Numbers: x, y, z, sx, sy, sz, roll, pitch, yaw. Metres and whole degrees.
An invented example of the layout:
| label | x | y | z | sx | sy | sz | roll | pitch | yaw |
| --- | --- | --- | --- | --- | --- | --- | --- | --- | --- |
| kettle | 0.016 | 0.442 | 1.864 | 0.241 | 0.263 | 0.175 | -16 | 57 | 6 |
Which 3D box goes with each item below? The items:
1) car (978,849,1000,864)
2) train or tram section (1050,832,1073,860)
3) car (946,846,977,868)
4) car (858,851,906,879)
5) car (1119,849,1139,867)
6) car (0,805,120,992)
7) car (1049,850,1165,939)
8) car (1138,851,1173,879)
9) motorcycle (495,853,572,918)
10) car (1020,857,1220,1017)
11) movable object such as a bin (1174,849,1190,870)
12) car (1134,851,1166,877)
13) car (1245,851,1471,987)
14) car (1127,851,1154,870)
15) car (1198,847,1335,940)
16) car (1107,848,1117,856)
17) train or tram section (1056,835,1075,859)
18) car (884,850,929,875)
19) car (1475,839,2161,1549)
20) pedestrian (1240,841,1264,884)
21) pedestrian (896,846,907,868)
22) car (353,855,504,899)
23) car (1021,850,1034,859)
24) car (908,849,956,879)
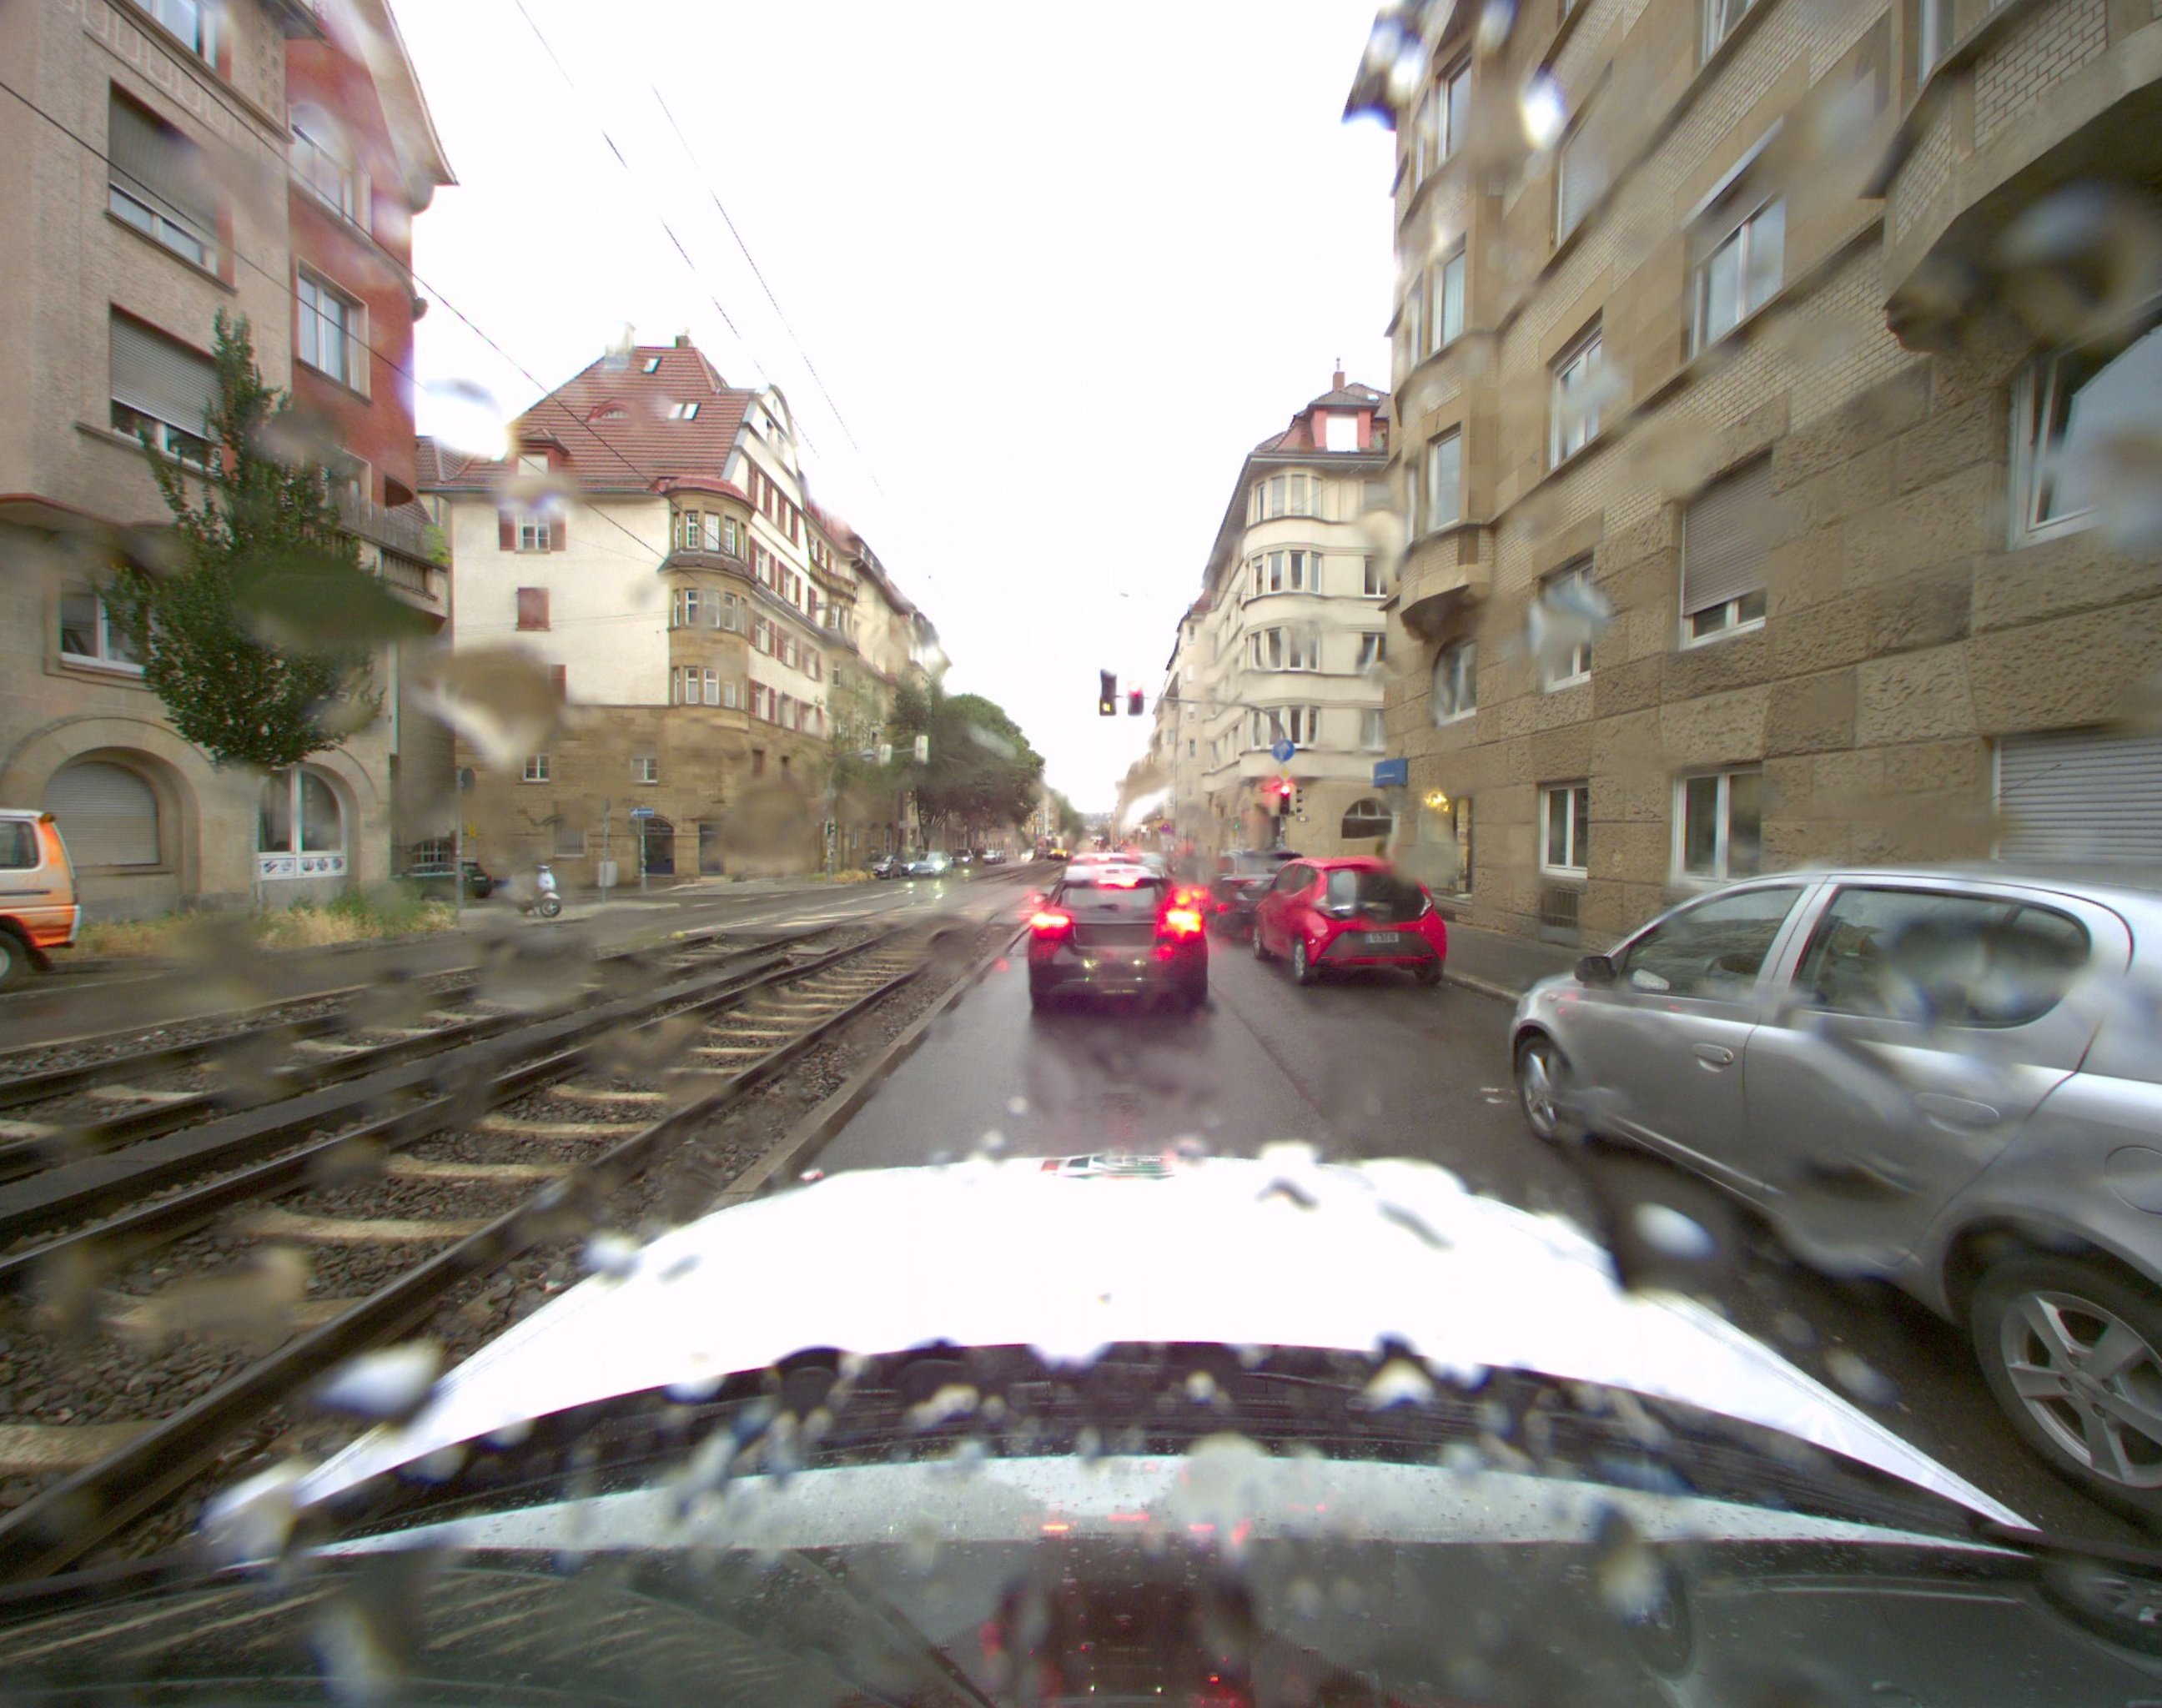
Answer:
| label | x | y | z | sx | sy | sz | roll | pitch | yaw |
| --- | --- | --- | --- | --- | --- | --- | --- | --- | --- |
| car | -10.116 | 0.255 | 89.898 | 1.954 | 1.605 | 4.329 | 1 | 1 | 1 |
| train or tram section | -2.919 | -1.203 | 126.161 | 2.736 | 4.061 | 17.216 | 0 | 0 | 1 |
| car | -10.615 | 0.219 | 72.497 | 1.946 | 1.742 | 4.779 | 3 | 1 | 0 |
| car | -11.190 | 0.613 | 46.116 | 1.684 | 1.529 | 4.175 | 0 | -1 | 0 |
| car | 4.420 | 0.383 | 74.553 | 1.833 | 1.608 | 4.765 | 0 | 0 | 4 |
| car | -12.081 | 0.458 | 7.236 | 1.722 | 1.930 | 4.476 | 0 | -1 | 0 |
| car | 0.516 | 0.702 | 16.242 | 1.986 | 1.525 | 4.247 | 1 | 0 | 2 |
| car | 3.917 | 0.599 | 43.674 | 1.703 | 1.410 | 4.821 | 0 | 0 | 3 |
| motorcycle | -12.010 | 0.668 | 17.852 | 1.761 | 1.375 | 0.772 | -1 | -1 | 33 |
| car | 0.418 | 0.766 | 9.394 | 1.828 | 1.453 | 3.903 | 0 | 0 | 2 |
| movable object such as a bin | 7.415 | 0.403 | 59.766 | 0.976 | 1.468 | 1.273 | 0 | -1 | 1 |
| car | 4.118 | 0.598 | 49.040 | 1.705 | 1.468 | 4.775 | 0 | 0 | 2 |
| car | 3.344 | 0.707 | 10.550 | 1.700 | 1.453 | 3.531 | 1 | 0 | -1 |
| car | 4.491 | 0.516 | 61.960 | 1.783 | 1.385 | 4.396 | 0 | 0 | 1 |
| car | 3.441 | 0.672 | 15.825 | 1.860 | 1.549 | 3.992 | 1 | 0 | 2 |
| car | 6.237 | -0.307 | 161.672 | 1.879 | 1.525 | 4.249 | 1 | 0 | 3 |
| train or tram section | -2.577 | -1.224 | 142.453 | 2.736 | 4.061 | 15.663 | 0 | 0 | 1 |
| car | -10.992 | 0.539 | 51.672 | 1.775 | 1.460 | 4.978 | 0 | 0 | 0 |
| car | 3.099 | 0.700 | 3.090 | 1.588 | 1.487 | 3.524 | -1 | 0 | 2 |
| pedestrian | 6.808 | 0.345 | 32.468 | 0.801 | 1.687 | 0.754 | 0 | -1 | 1 |
| pedestrian | -13.973 | 0.231 | 63.392 | 0.726 | 1.663 | 0.771 | 0 | 0 | 1 |
| car | -24.447 | 0.840 | 30.637 | 3.977 | 1.574 | 1.998 | 0 | -1 | -2 |
| car | -8.668 | 0.090 | 132.305 | 1.775 | 1.502 | 4.062 | 0 | -1 | 0 |
| car | -8.238 | 0.553 | 45.300 | 1.915 | 1.617 | 4.128 | 0 | -1 | 0 |
